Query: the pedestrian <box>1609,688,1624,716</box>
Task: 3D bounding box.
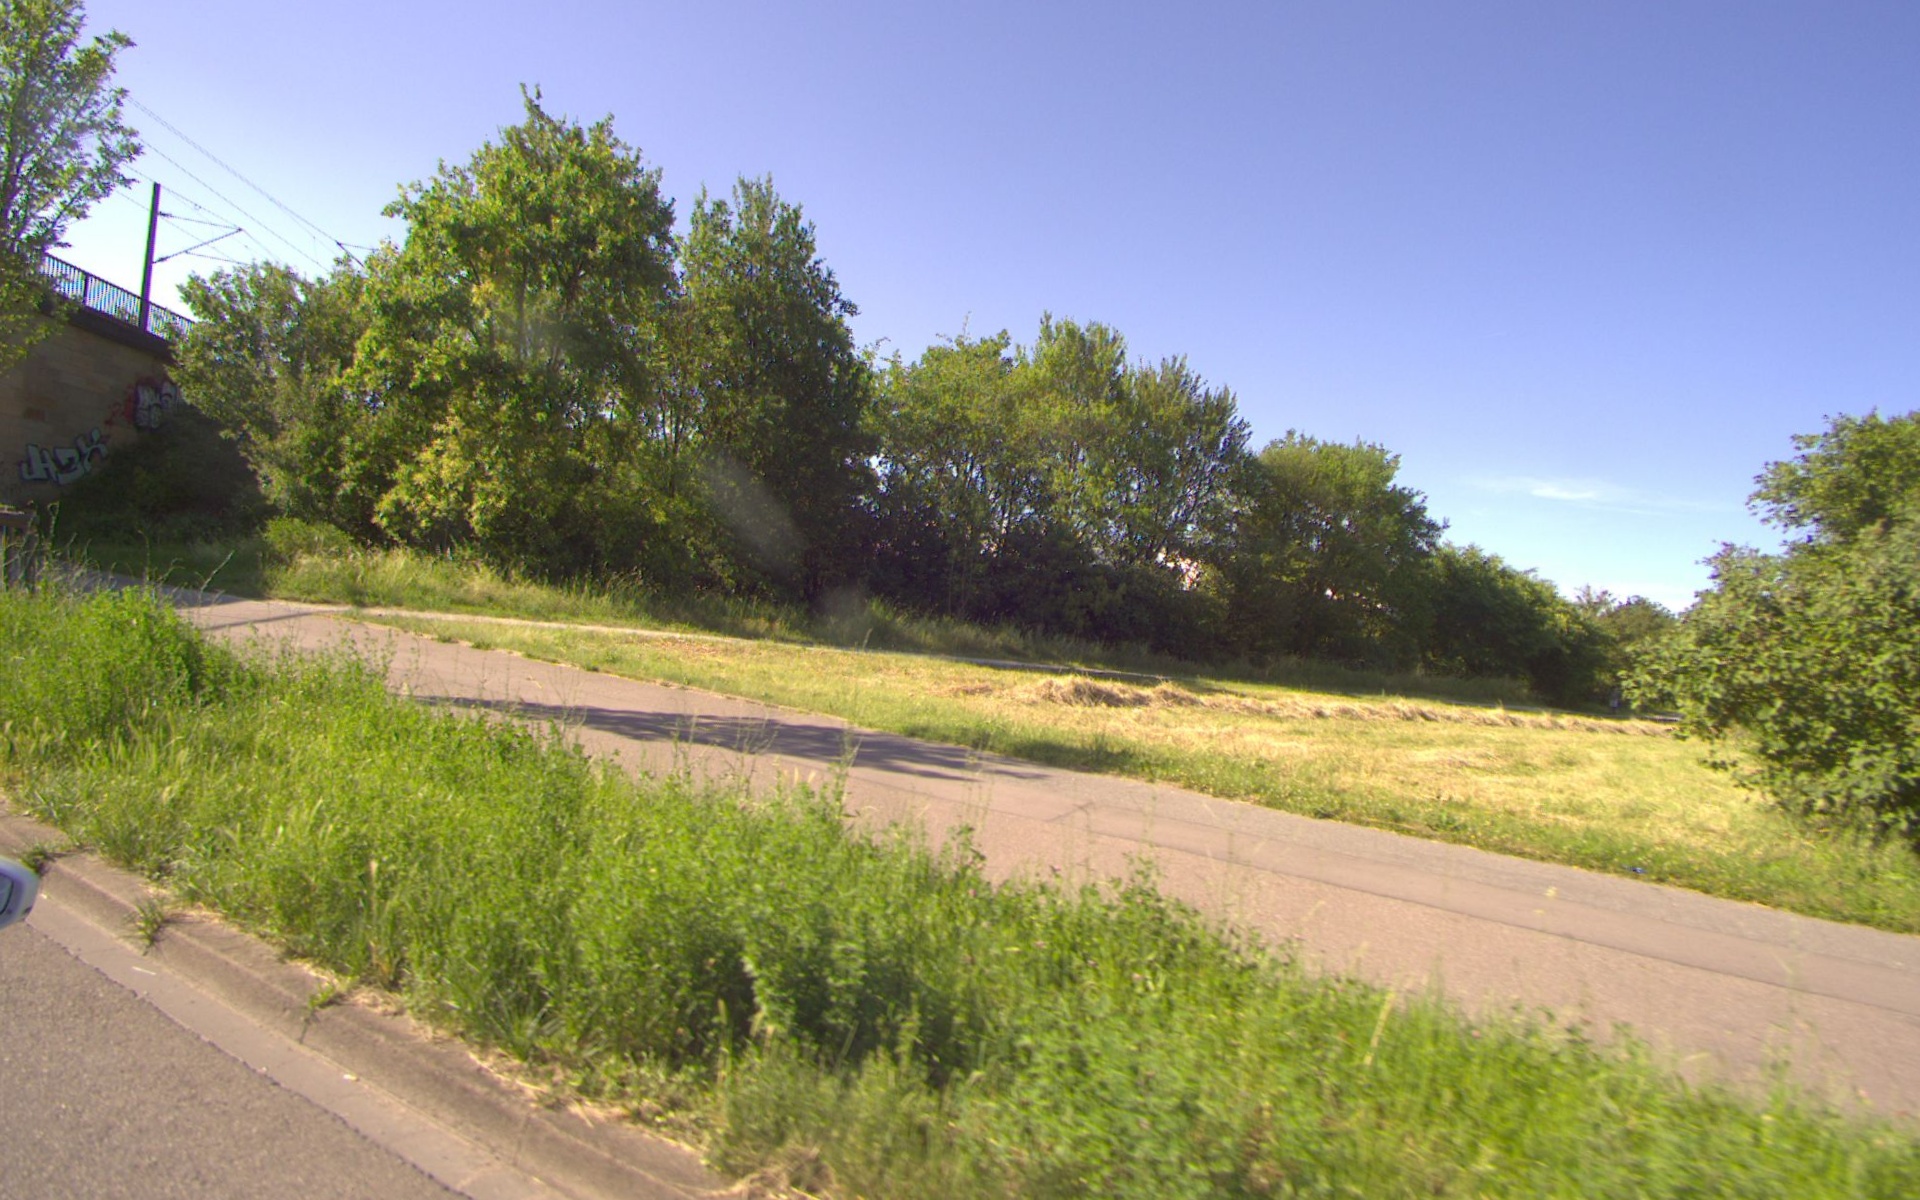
[{"bbox_3d":[38.475,6.000,58.950,0.534,1.546,0.531,6,-2,45],"label":"pedestrian"}]
